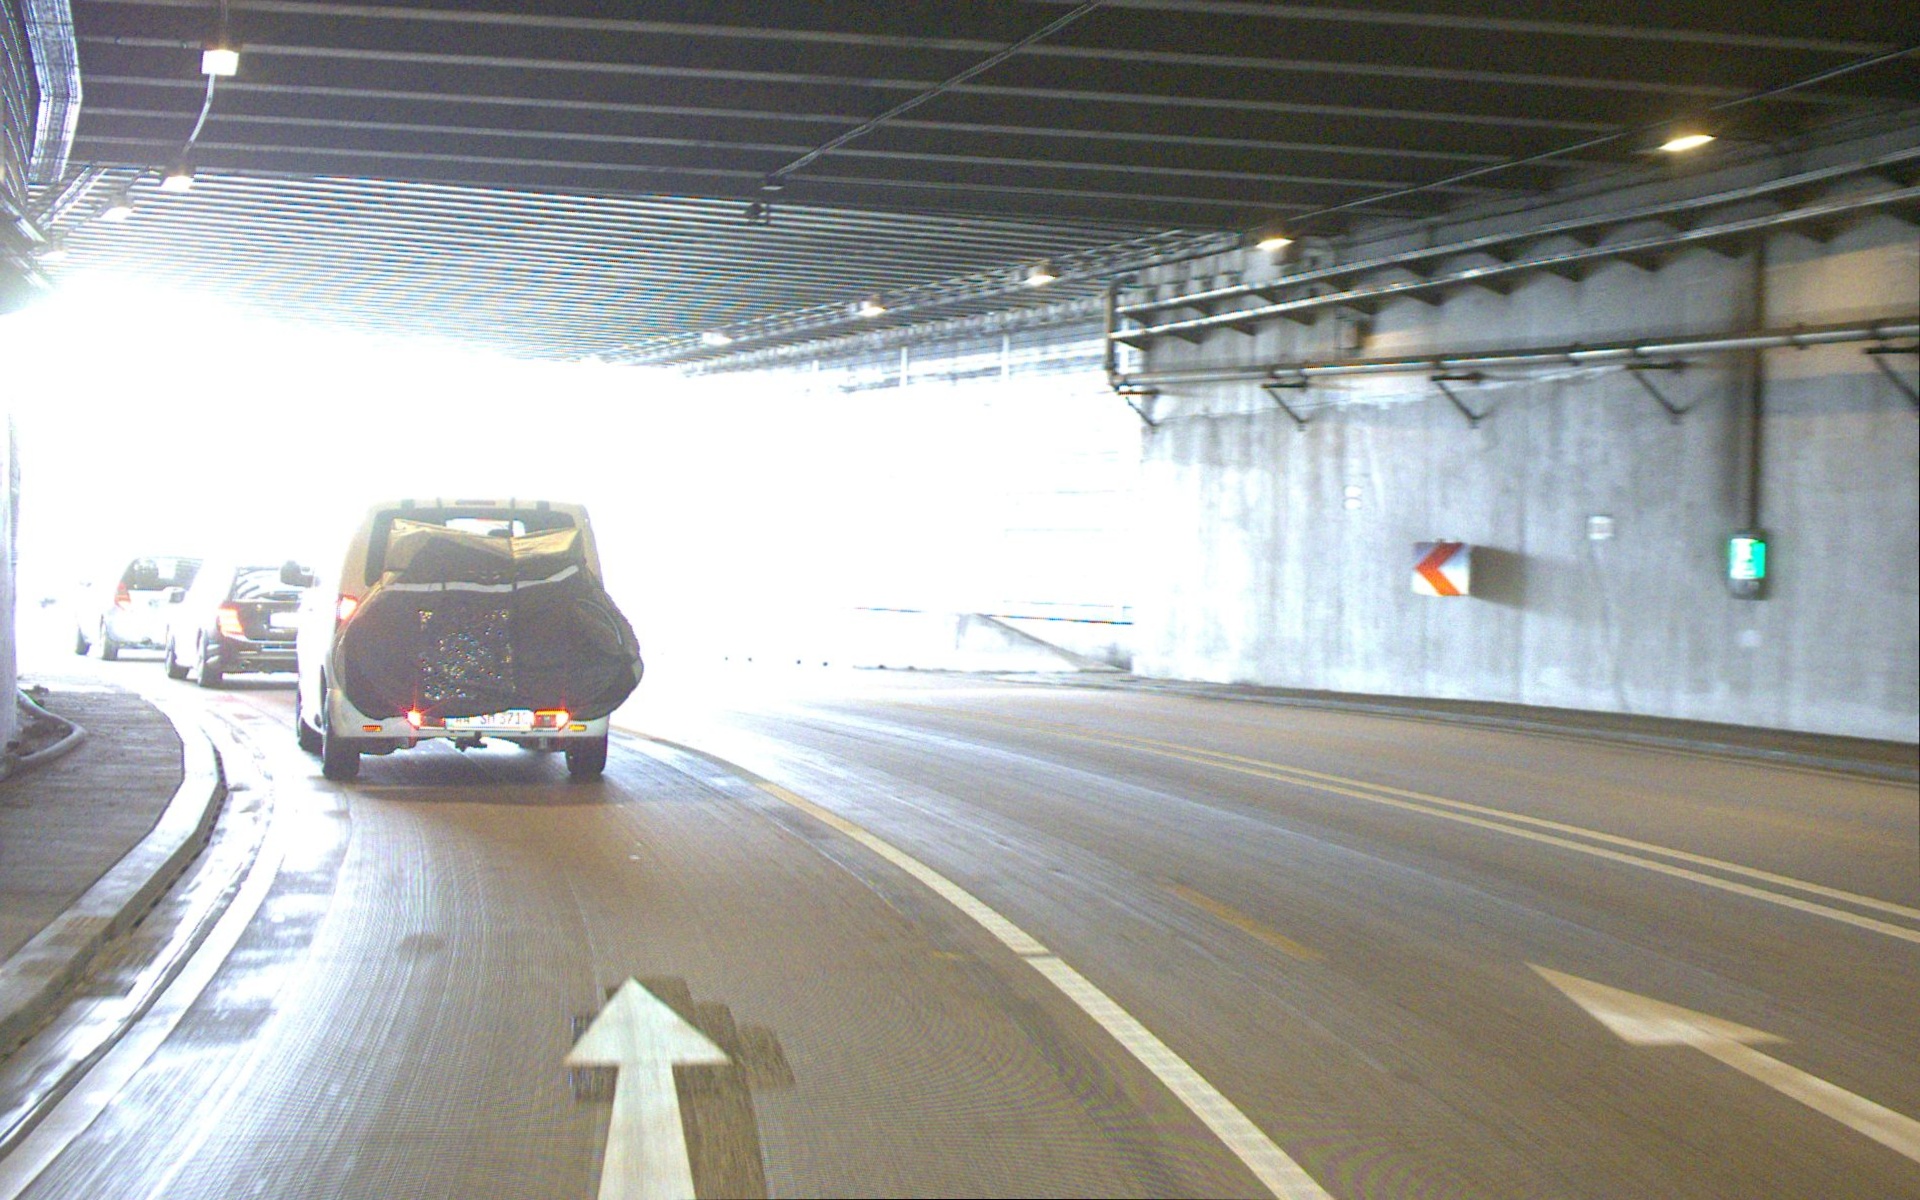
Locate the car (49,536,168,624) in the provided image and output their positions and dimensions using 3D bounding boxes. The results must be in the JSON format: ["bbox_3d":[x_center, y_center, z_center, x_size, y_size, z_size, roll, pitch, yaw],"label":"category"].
[{"bbox_3d":[-17.135,-0.425,69.051,1.993,1.658,4.001,2,1,-18],"label":"car"}]

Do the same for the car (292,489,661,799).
[{"bbox_3d":[-3.453,0.206,23.602,1.992,1.852,5.643,-1,1,-13],"label":"car"}]

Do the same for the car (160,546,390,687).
[{"bbox_3d":[-7.597,0.151,37.849,1.814,1.429,4.066,1,1,-21],"label":"car"}]

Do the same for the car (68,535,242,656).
[{"bbox_3d":[-11.253,-0.089,47.867,1.920,1.483,4.067,2,1,-19],"label":"car"}]

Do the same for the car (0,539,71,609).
[{"bbox_3d":[-23.604,-0.683,86.717,1.993,1.658,4.001,2,1,-18],"label":"car"}]
